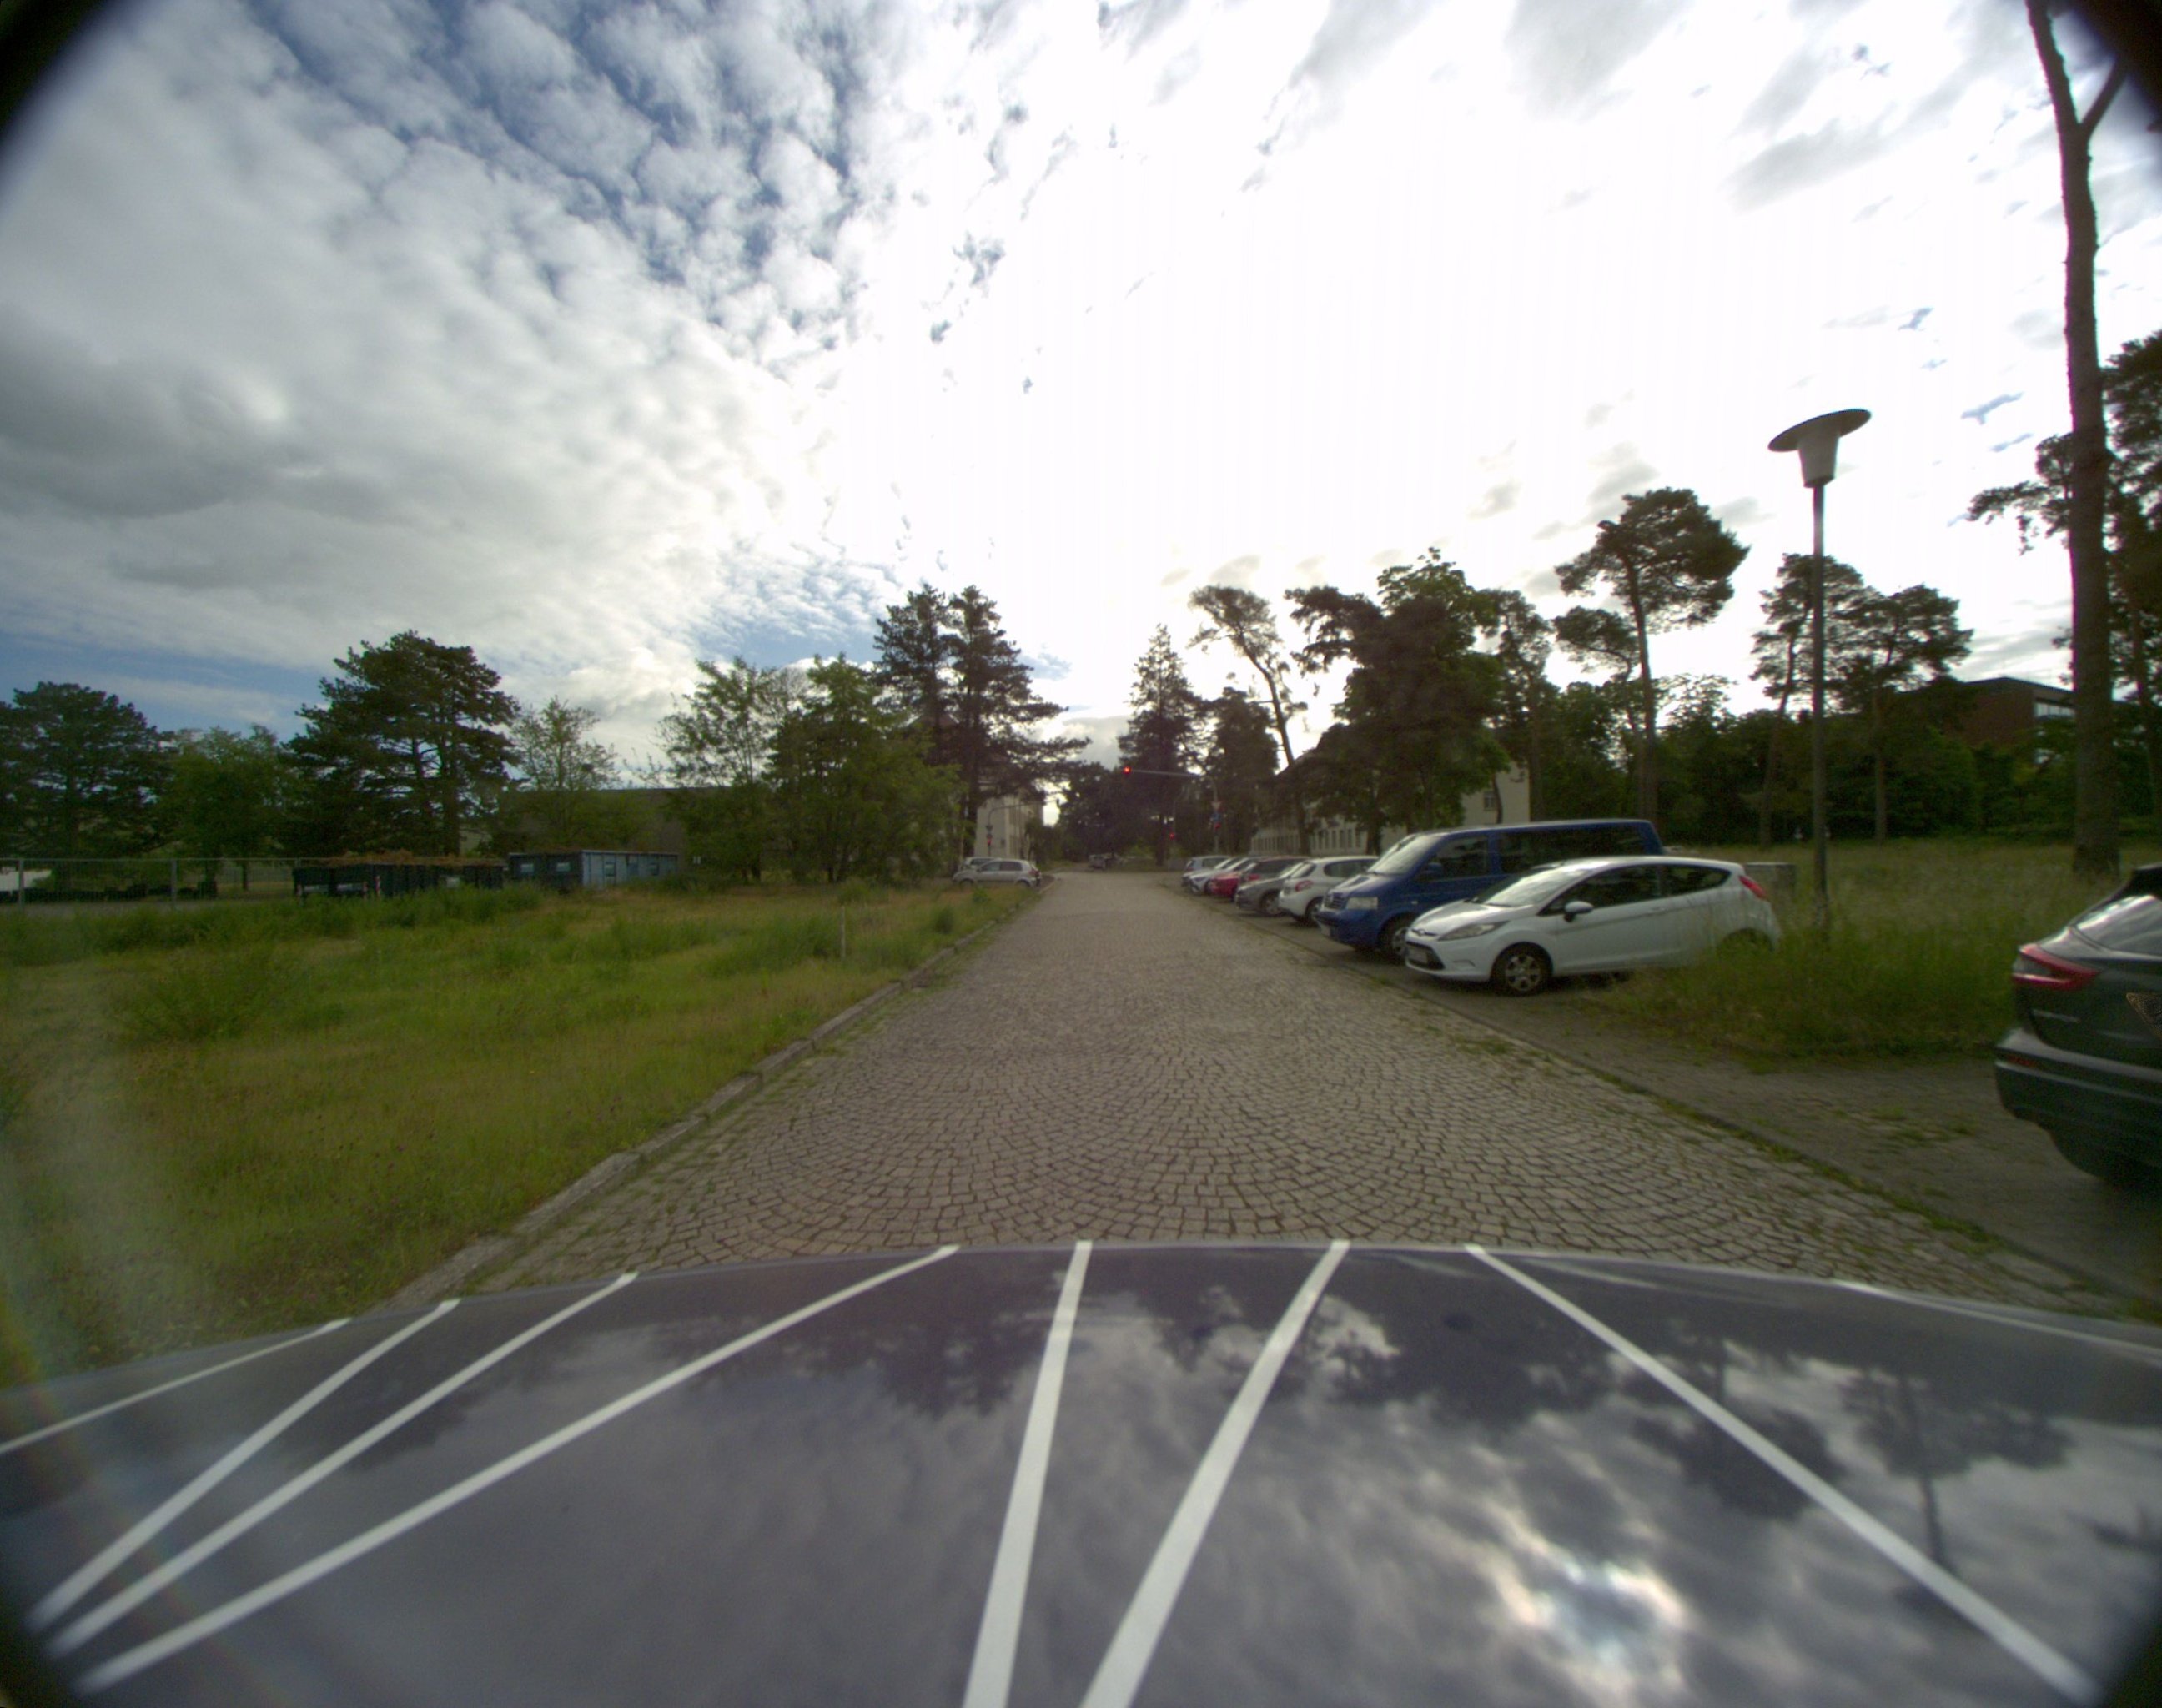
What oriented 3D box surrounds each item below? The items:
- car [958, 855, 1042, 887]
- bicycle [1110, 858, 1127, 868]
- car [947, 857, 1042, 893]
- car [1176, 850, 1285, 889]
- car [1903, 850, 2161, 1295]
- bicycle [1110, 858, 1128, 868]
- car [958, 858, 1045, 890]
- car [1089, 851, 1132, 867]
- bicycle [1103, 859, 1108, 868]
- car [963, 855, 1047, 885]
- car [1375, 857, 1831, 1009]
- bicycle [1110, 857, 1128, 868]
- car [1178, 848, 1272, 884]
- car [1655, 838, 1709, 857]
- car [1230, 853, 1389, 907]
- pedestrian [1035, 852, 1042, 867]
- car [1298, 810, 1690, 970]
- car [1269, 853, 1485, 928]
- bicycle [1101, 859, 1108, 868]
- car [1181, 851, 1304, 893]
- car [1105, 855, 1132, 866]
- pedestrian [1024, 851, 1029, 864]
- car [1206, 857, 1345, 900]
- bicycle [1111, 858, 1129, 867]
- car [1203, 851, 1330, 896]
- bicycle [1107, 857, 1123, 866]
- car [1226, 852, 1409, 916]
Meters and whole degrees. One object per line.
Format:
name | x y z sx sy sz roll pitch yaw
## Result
car | -4.215 0.880 40.020 4.251 1.587 1.885 1 0 -3
bicycle | 4.149 0.993 84.197 1.898 1.058 0.616 -1 0 -1
car | -3.888 0.921 34.587 4.084 1.506 1.804 1 0 -1
car | 6.365 0.641 32.701 4.262 1.539 1.935 -1 0 -3
car | 6.042 0.766 2.689 4.177 1.613 1.986 -1 0 -2
bicycle | 4.302 0.976 85.279 1.950 1.058 0.562 -1 0 -1
car | -3.831 0.951 37.297 4.084 1.444 1.885 1 0 -1
car | 3.972 0.617 102.633 5.366 1.987 2.289 -1 0 -7
bicycle | 2.601 1.037 80.801 0.459 0.903 1.663 -1 0 5
car | -4.230 0.879 42.573 4.504 1.556 1.905 1 0 -1
car | 5.926 0.842 8.986 4.177 1.501 1.781 -1 0 -1
bicycle | 4.212 0.961 84.751 1.950 1.104 0.562 -1 0 -1
car | 6.675 0.561 35.426 3.997 1.534 1.905 -1 0 0
car | 60.493 -0.677 76.505 3.996 1.796 1.722 -1 0 4
car | 6.711 0.748 22.624 4.176 1.473 1.846 -1 0 2
pedestrian | -5.534 0.715 98.819 0.589 1.926 0.792 -2 1 -32
car | 6.017 0.495 11.570 4.794 2.109 2.115 -1 0 0
car | 6.424 0.761 16.860 4.077 1.488 1.846 -1 0 2
bicycle | 2.547 1.031 82.625 0.459 0.968 1.664 -1 0 10
car | 6.301 0.678 29.958 4.385 1.499 1.935 -1 0 -1
car | 4.889 0.849 98.983 3.439 1.440 1.913 -1 0 0
pedestrian | -7.152 0.424 99.816 0.568 1.691 0.532 -1 0 5
car | 6.393 0.795 25.287 4.176 1.259 1.831 -1 0 2
bicycle | 4.398 0.965 85.925 1.950 1.058 0.562 -1 0 -1
car | 6.675 0.683 27.653 4.176 1.468 1.864 -1 0 0
bicycle | 4.050 0.905 90.796 1.950 1.058 0.562 -1 0 -1
car | 6.023 0.745 19.708 4.176 1.483 1.865 -1 0 3
